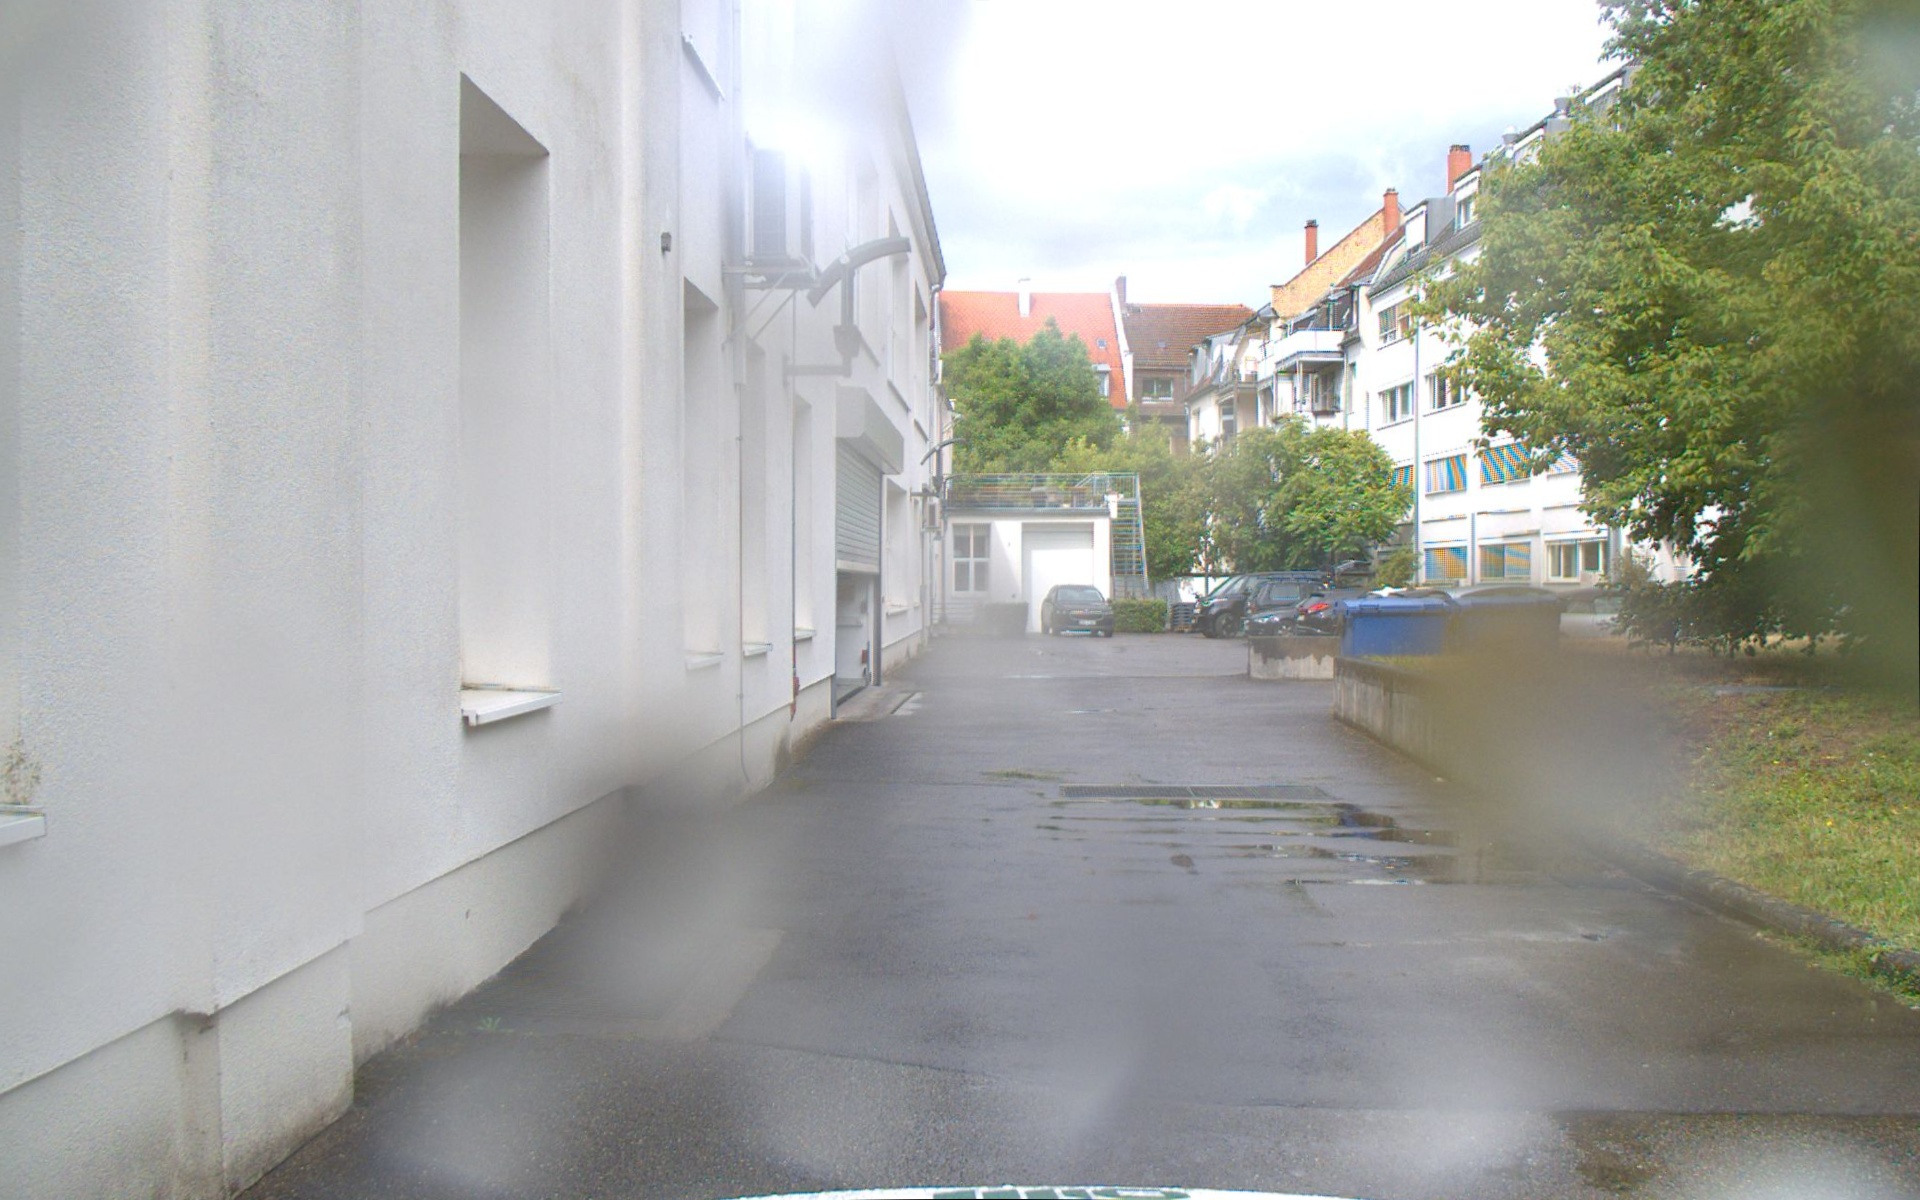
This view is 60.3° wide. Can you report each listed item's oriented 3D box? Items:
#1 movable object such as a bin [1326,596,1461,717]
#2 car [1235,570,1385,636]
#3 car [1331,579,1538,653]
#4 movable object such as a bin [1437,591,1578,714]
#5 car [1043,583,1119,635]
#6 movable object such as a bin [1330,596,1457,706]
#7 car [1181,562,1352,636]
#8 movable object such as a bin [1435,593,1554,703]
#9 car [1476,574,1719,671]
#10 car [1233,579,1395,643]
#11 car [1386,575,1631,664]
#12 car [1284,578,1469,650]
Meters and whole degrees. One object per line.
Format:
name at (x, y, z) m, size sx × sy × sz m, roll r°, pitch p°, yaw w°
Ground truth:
movable object such as a bin at (4.997, 0.636, 19.143) m, size 1.309 × 1.314 × 1.096 m, roll -1°, pitch 1°, yaw 3°
car at (9.876, 0.078, 46.806) m, size 3.829 × 1.717 × 1.817 m, roll -2°, pitch 0°, yaw 0°
car at (10.200, 0.334, 35.709) m, size 3.908 × 1.484 × 1.772 m, roll -1°, pitch 0°, yaw -4°
movable object such as a bin at (6.319, 0.587, 19.163) m, size 1.266 × 1.360 × 1.197 m, roll -1°, pitch 0°, yaw 3°
car at (3.568, 0.246, 49.435) m, size 1.939 × 1.469 × 4.000 m, roll 0°, pitch 1°, yaw -1°
movable object such as a bin at (5.458, 0.627, 20.901) m, size 1.343 × 1.327 × 1.083 m, roll -1°, pitch 0°, yaw 3°
car at (9.153, -0.050, 49.553) m, size 4.550 × 2.038 × 2.221 m, roll -2°, pitch 1°, yaw -9°
movable object such as a bin at (6.732, 0.590, 20.889) m, size 1.161 × 1.327 × 1.107 m, roll -1°, pitch 0°, yaw 2°
car at (10.538, 0.364, 27.505) m, size 3.346 × 1.452 × 1.688 m, roll -2°, pitch 0°, yaw -1°
car at (9.303, 0.276, 43.637) m, size 3.831 × 1.540 × 1.751 m, roll -2°, pitch 0°, yaw -4°
car at (10.100, 0.345, 30.624) m, size 3.906 × 1.471 × 1.806 m, roll -2°, pitch 0°, yaw -2°
car at (9.775, 0.315, 38.986) m, size 3.833 × 1.540 × 1.817 m, roll -2°, pitch 0°, yaw -6°
